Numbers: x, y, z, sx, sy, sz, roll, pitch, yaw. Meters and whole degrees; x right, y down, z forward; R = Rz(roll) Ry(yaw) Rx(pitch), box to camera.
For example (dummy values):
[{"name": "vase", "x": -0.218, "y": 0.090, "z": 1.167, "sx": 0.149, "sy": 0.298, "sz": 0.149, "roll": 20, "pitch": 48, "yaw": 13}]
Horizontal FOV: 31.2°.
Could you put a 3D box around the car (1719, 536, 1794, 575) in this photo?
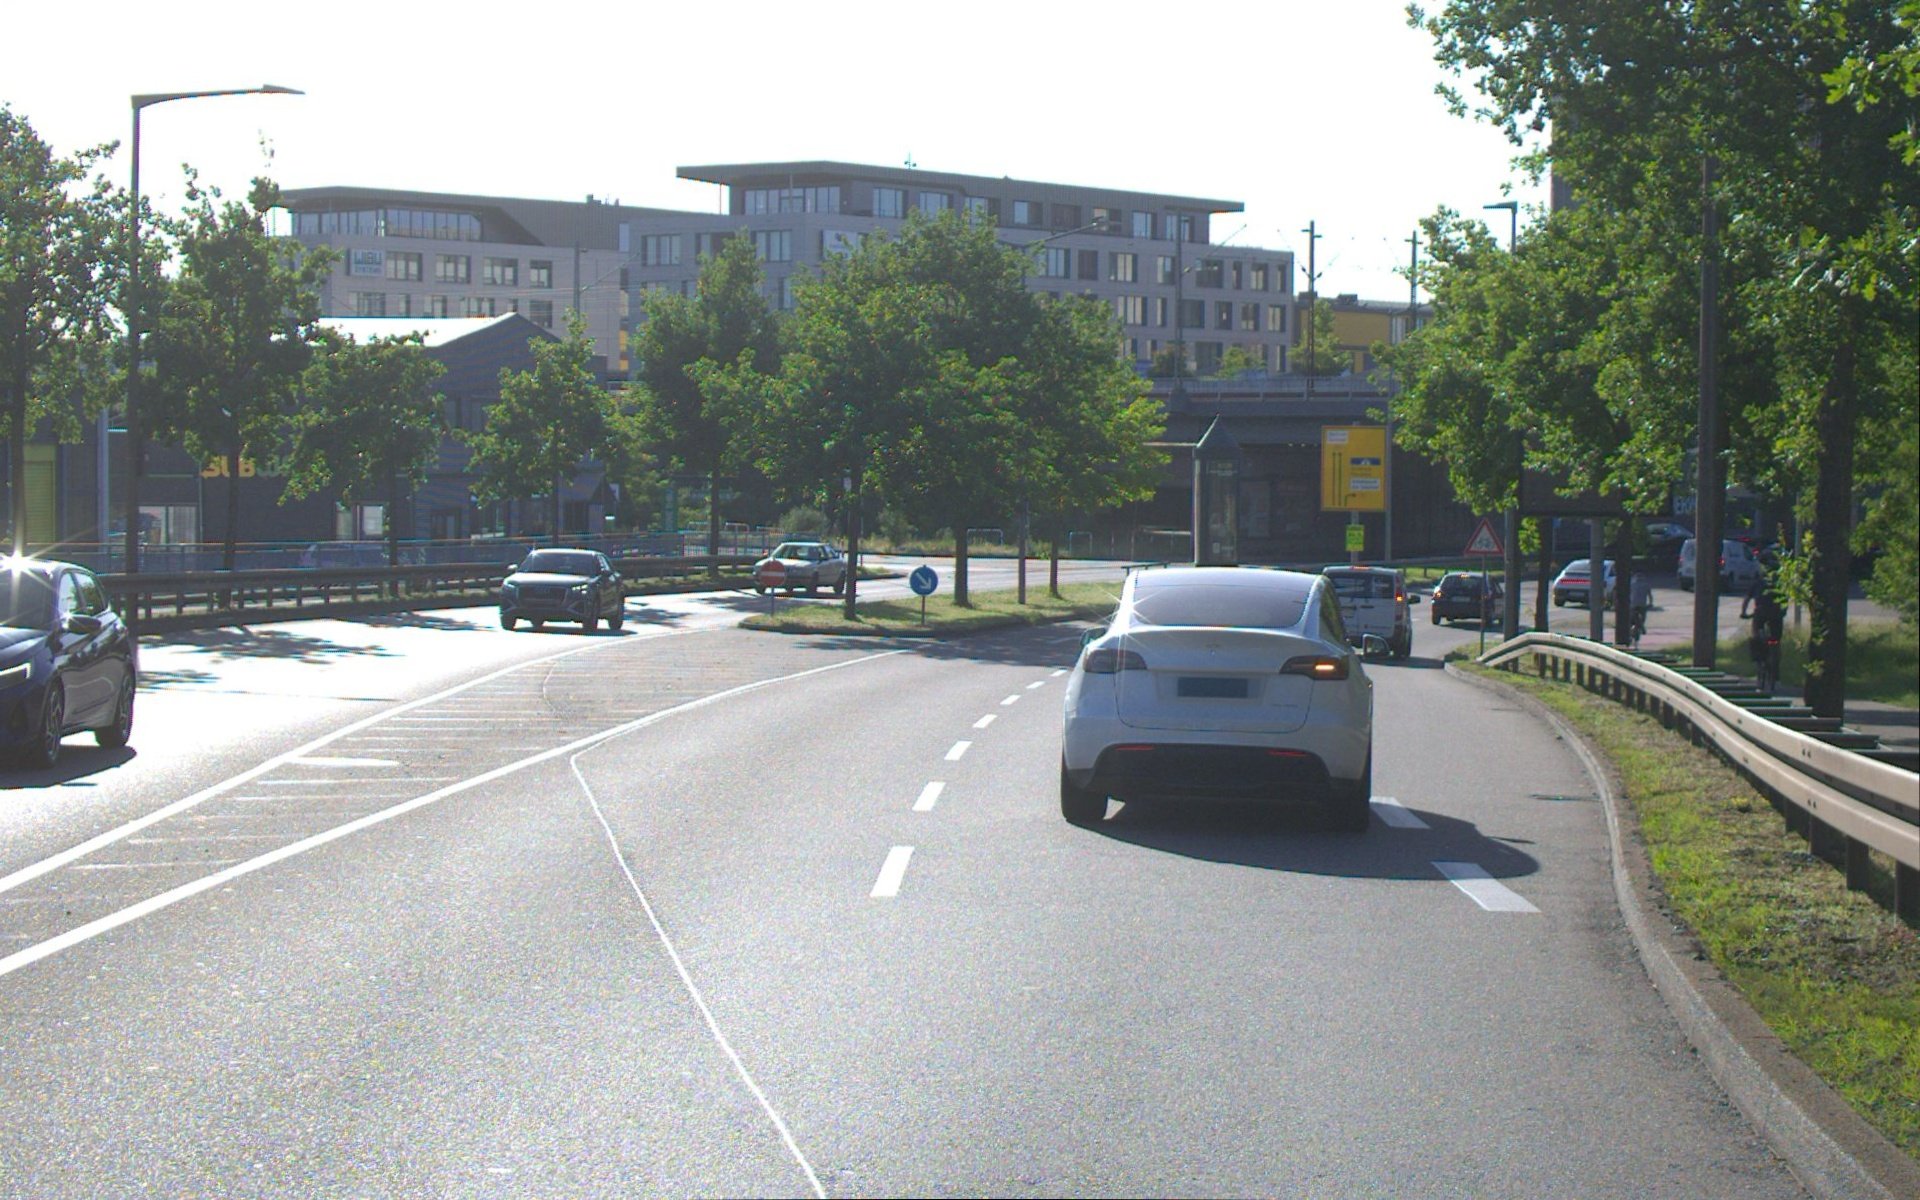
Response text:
[{"name": "car", "x": 33.271, "y": -1.870, "z": 143.553, "sx": 1.712, "sy": 1.517, "sz": 3.735, "roll": 3, "pitch": 3, "yaw": 36}]

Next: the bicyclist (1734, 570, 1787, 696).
[{"name": "bicyclist", "x": 11.418, "y": 0.461, "z": 49.016, "sx": 0.675, "sy": 1.770, "sz": 0.947, "roll": 0, "pitch": 1, "yaw": 16}]

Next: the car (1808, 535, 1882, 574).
[{"name": "car", "x": 36.949, "y": -1.908, "z": 143.463, "sx": 1.712, "sy": 1.517, "sz": 3.735, "roll": 3, "pitch": 3, "yaw": 36}]

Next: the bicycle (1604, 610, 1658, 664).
[{"name": "bicycle", "x": 14.755, "y": 0.807, "z": 75.538, "sx": 0.744, "sy": 1.108, "sz": 2.449, "roll": 0, "pitch": 1, "yaw": 21}]

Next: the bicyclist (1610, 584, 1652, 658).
[{"name": "bicyclist", "x": 14.737, "y": 0.455, "z": 75.510, "sx": 0.746, "sy": 1.613, "sz": 0.912, "roll": 0, "pitch": 1, "yaw": 21}]

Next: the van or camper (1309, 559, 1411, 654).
[{"name": "van or camper", "x": 8.411, "y": 0.100, "z": 71.983, "sx": 1.959, "sy": 1.877, "sz": 4.878, "roll": 1, "pitch": 1, "yaw": 8}]

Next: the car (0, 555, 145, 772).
[{"name": "car", "x": -7.140, "y": 0.401, "z": 25.057, "sx": 1.664, "sy": 1.440, "sz": 3.850, "roll": 1, "pitch": 1, "yaw": -3}]

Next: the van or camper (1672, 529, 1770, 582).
[{"name": "van or camper", "x": 27.361, "y": -1.606, "z": 123.581, "sx": 1.829, "sy": 1.784, "sz": 4.536, "roll": 4, "pitch": 3, "yaw": 34}]

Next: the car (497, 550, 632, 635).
[{"name": "car", "x": -7.453, "y": -0.162, "z": 65.134, "sx": 1.762, "sy": 1.484, "sz": 4.276, "roll": 2, "pitch": 1, "yaw": 3}]

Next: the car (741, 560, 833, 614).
[{"name": "car", "x": -4.792, "y": -0.386, "z": 95.757, "sx": 1.730, "sy": 1.381, "sz": 4.495, "roll": 3, "pitch": 1, "yaw": 8}]

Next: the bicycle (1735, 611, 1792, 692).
[{"name": "bicycle", "x": 11.573, "y": 0.735, "z": 49.455, "sx": 0.695, "sy": 1.091, "sz": 2.116, "roll": 0, "pitch": 1, "yaw": 16}]

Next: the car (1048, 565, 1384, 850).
[{"name": "car", "x": 1.772, "y": 0.613, "z": 22.455, "sx": 1.914, "sy": 1.635, "sz": 4.409, "roll": 0, "pitch": 1, "yaw": 8}]

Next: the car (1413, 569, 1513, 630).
[{"name": "car", "x": 13.658, "y": -0.028, "z": 93.236, "sx": 1.606, "sy": 1.429, "sz": 3.674, "roll": 3, "pitch": 4, "yaw": 25}]

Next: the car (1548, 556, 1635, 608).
[{"name": "car", "x": 20.020, "y": -0.585, "z": 108.845, "sx": 1.765, "sy": 1.470, "sz": 4.284, "roll": 2, "pitch": 2, "yaw": 23}]
